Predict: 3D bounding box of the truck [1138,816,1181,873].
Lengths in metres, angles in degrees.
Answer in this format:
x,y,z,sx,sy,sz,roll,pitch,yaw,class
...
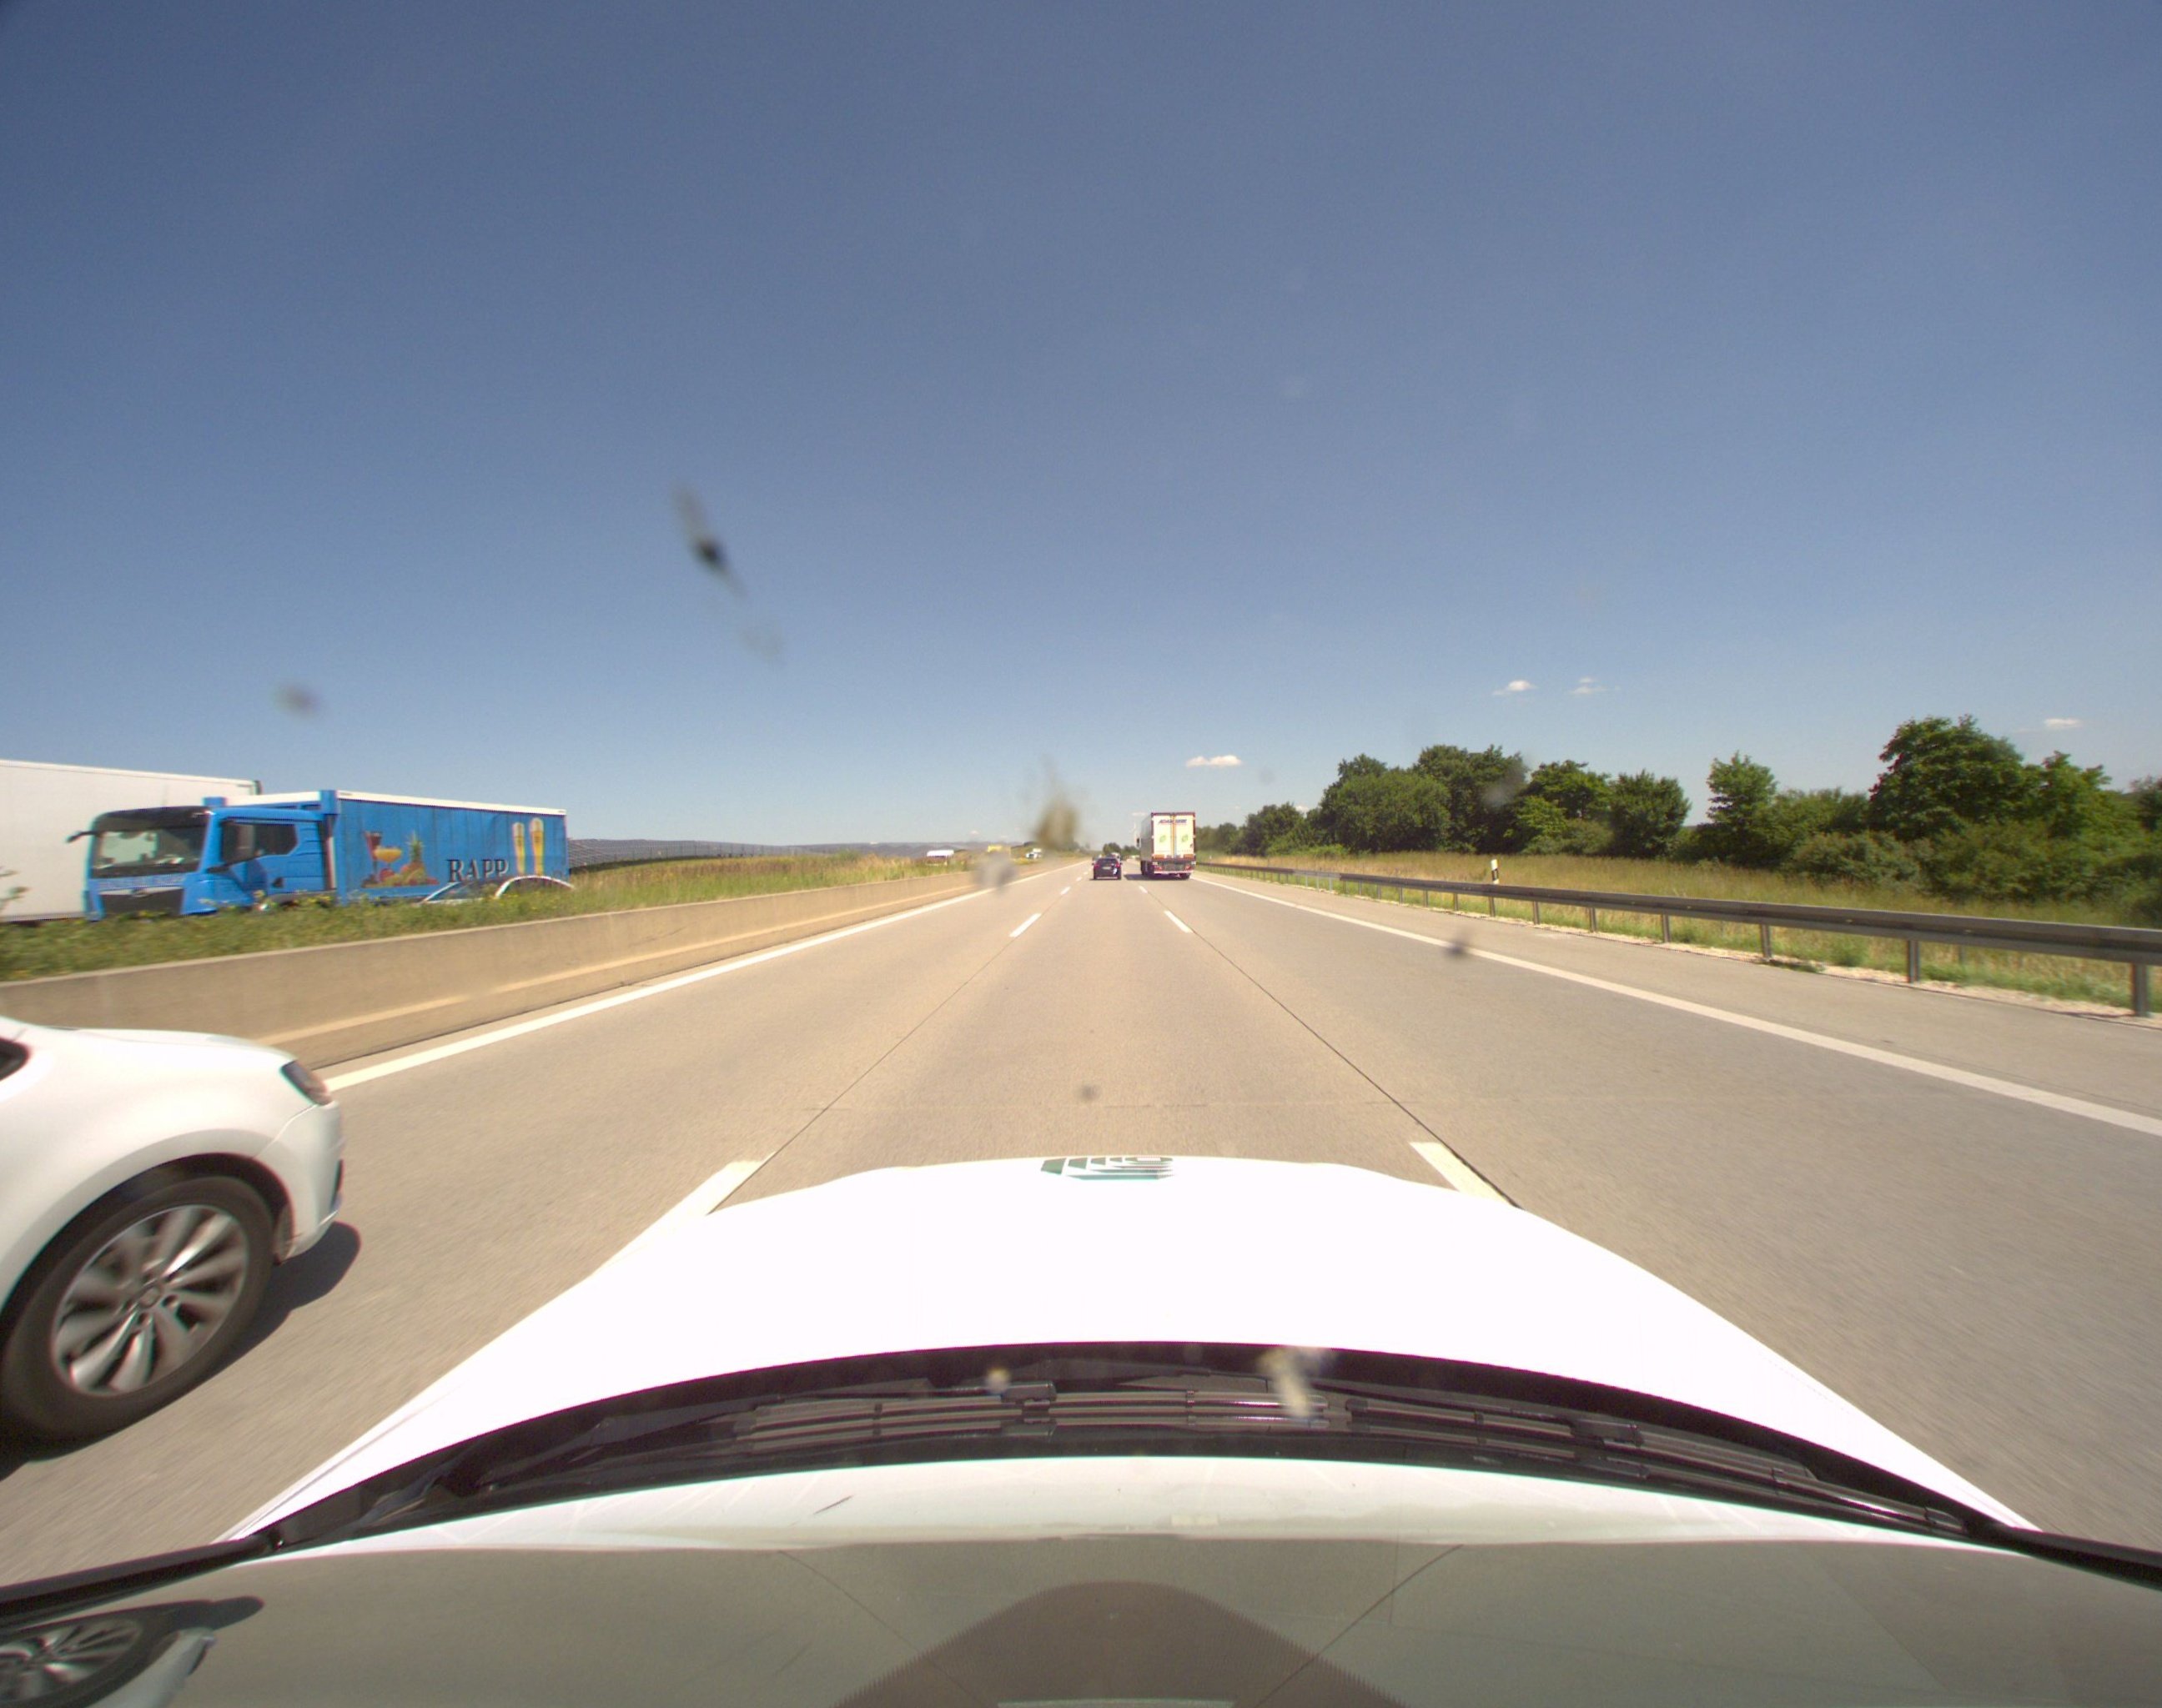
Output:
x,y,z,sx,sy,sz,roll,pitch,yaw,class
5.895,-0.661,61.872,2.801,4.088,5.800,0,0,2,truck

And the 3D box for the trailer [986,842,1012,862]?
x,y,z,sx,sy,sz,roll,pitch,yaw,class
-15.456,-0.365,155.021,2.920,3.551,14.026,0,-1,2,trailer

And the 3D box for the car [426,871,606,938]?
x,y,z,sx,sy,sz,roll,pitch,yaw,class
-12.309,1.054,18.023,1.447,1.300,3.489,0,-1,2,car

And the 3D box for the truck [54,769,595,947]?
x,y,z,sx,sy,sz,roll,pitch,yaw,class
-16.138,0.124,19.225,2.814,3.064,10.378,0,-1,2,truck

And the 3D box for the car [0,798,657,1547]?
x,y,z,sx,sy,sz,roll,pitch,yaw,class
-3.397,0.727,1.552,1.838,1.708,6.038,0,-1,2,car

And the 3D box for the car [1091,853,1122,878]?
x,y,z,sx,sy,sz,roll,pitch,yaw,class
1.640,0.701,52.102,1.903,1.492,4.193,0,0,1,car

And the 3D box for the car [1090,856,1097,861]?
x,y,z,sx,sy,sz,roll,pitch,yaw,class
3.608,1.338,233.338,1.649,1.196,3.962,2,0,2,car

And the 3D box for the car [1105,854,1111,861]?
x,y,z,sx,sy,sz,roll,pitch,yaw,class
8.561,1.112,256.873,1.821,1.937,3.809,-1,-1,0,car

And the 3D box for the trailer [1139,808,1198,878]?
x,y,z,sx,sy,sz,roll,pitch,yaw,class
5.587,-0.620,54.139,2.842,4.042,12.717,0,0,2,trailer

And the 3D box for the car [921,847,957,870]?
x,y,z,sx,sy,sz,roll,pitch,yaw,class
-13.215,0.436,76.105,2.176,2.014,6.349,0,-1,1,car

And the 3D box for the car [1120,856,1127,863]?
x,y,z,sx,sy,sz,roll,pitch,yaw,class
11.842,1.563,225.220,1.820,1.907,4.001,-1,-1,1,car

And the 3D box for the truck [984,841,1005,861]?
x,y,z,sx,sy,sz,roll,pitch,yaw,class
-15.728,-0.449,148.423,2.911,3.540,6.350,-1,-1,2,truck

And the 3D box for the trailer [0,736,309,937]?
x,y,z,sx,sy,sz,roll,pitch,yaw,class
-20.444,-0.308,13.847,3.063,3.524,11.768,0,-1,2,trailer
